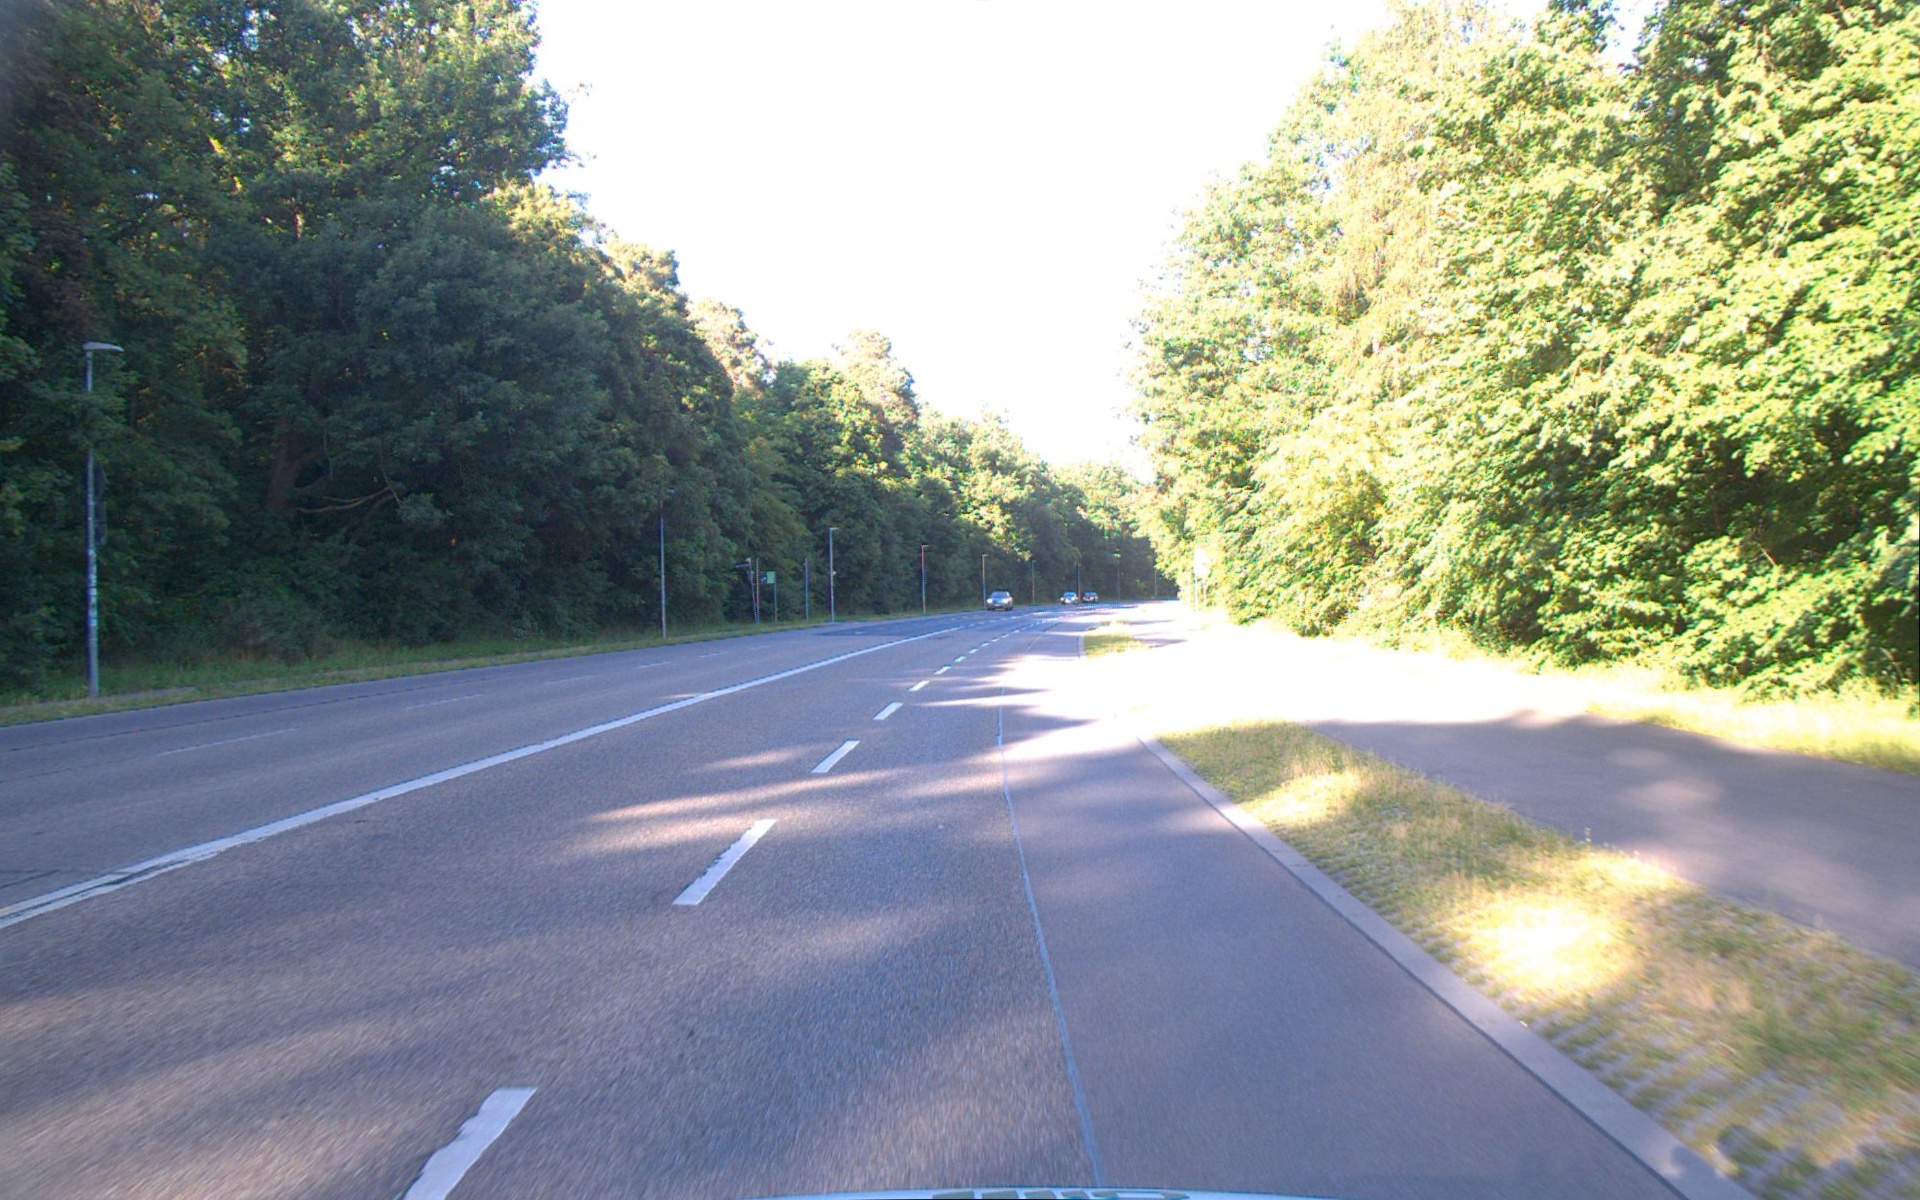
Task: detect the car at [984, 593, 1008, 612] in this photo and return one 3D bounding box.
[{"bbox_3d":[3.077,0.218,141.434,1.952,1.613,4.000,0,-1,1],"label":"car"}]

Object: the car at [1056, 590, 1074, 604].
[{"bbox_3d":[12.618,-0.406,198.165,1.951,1.613,4.003,0,-1,7],"label":"car"}]
